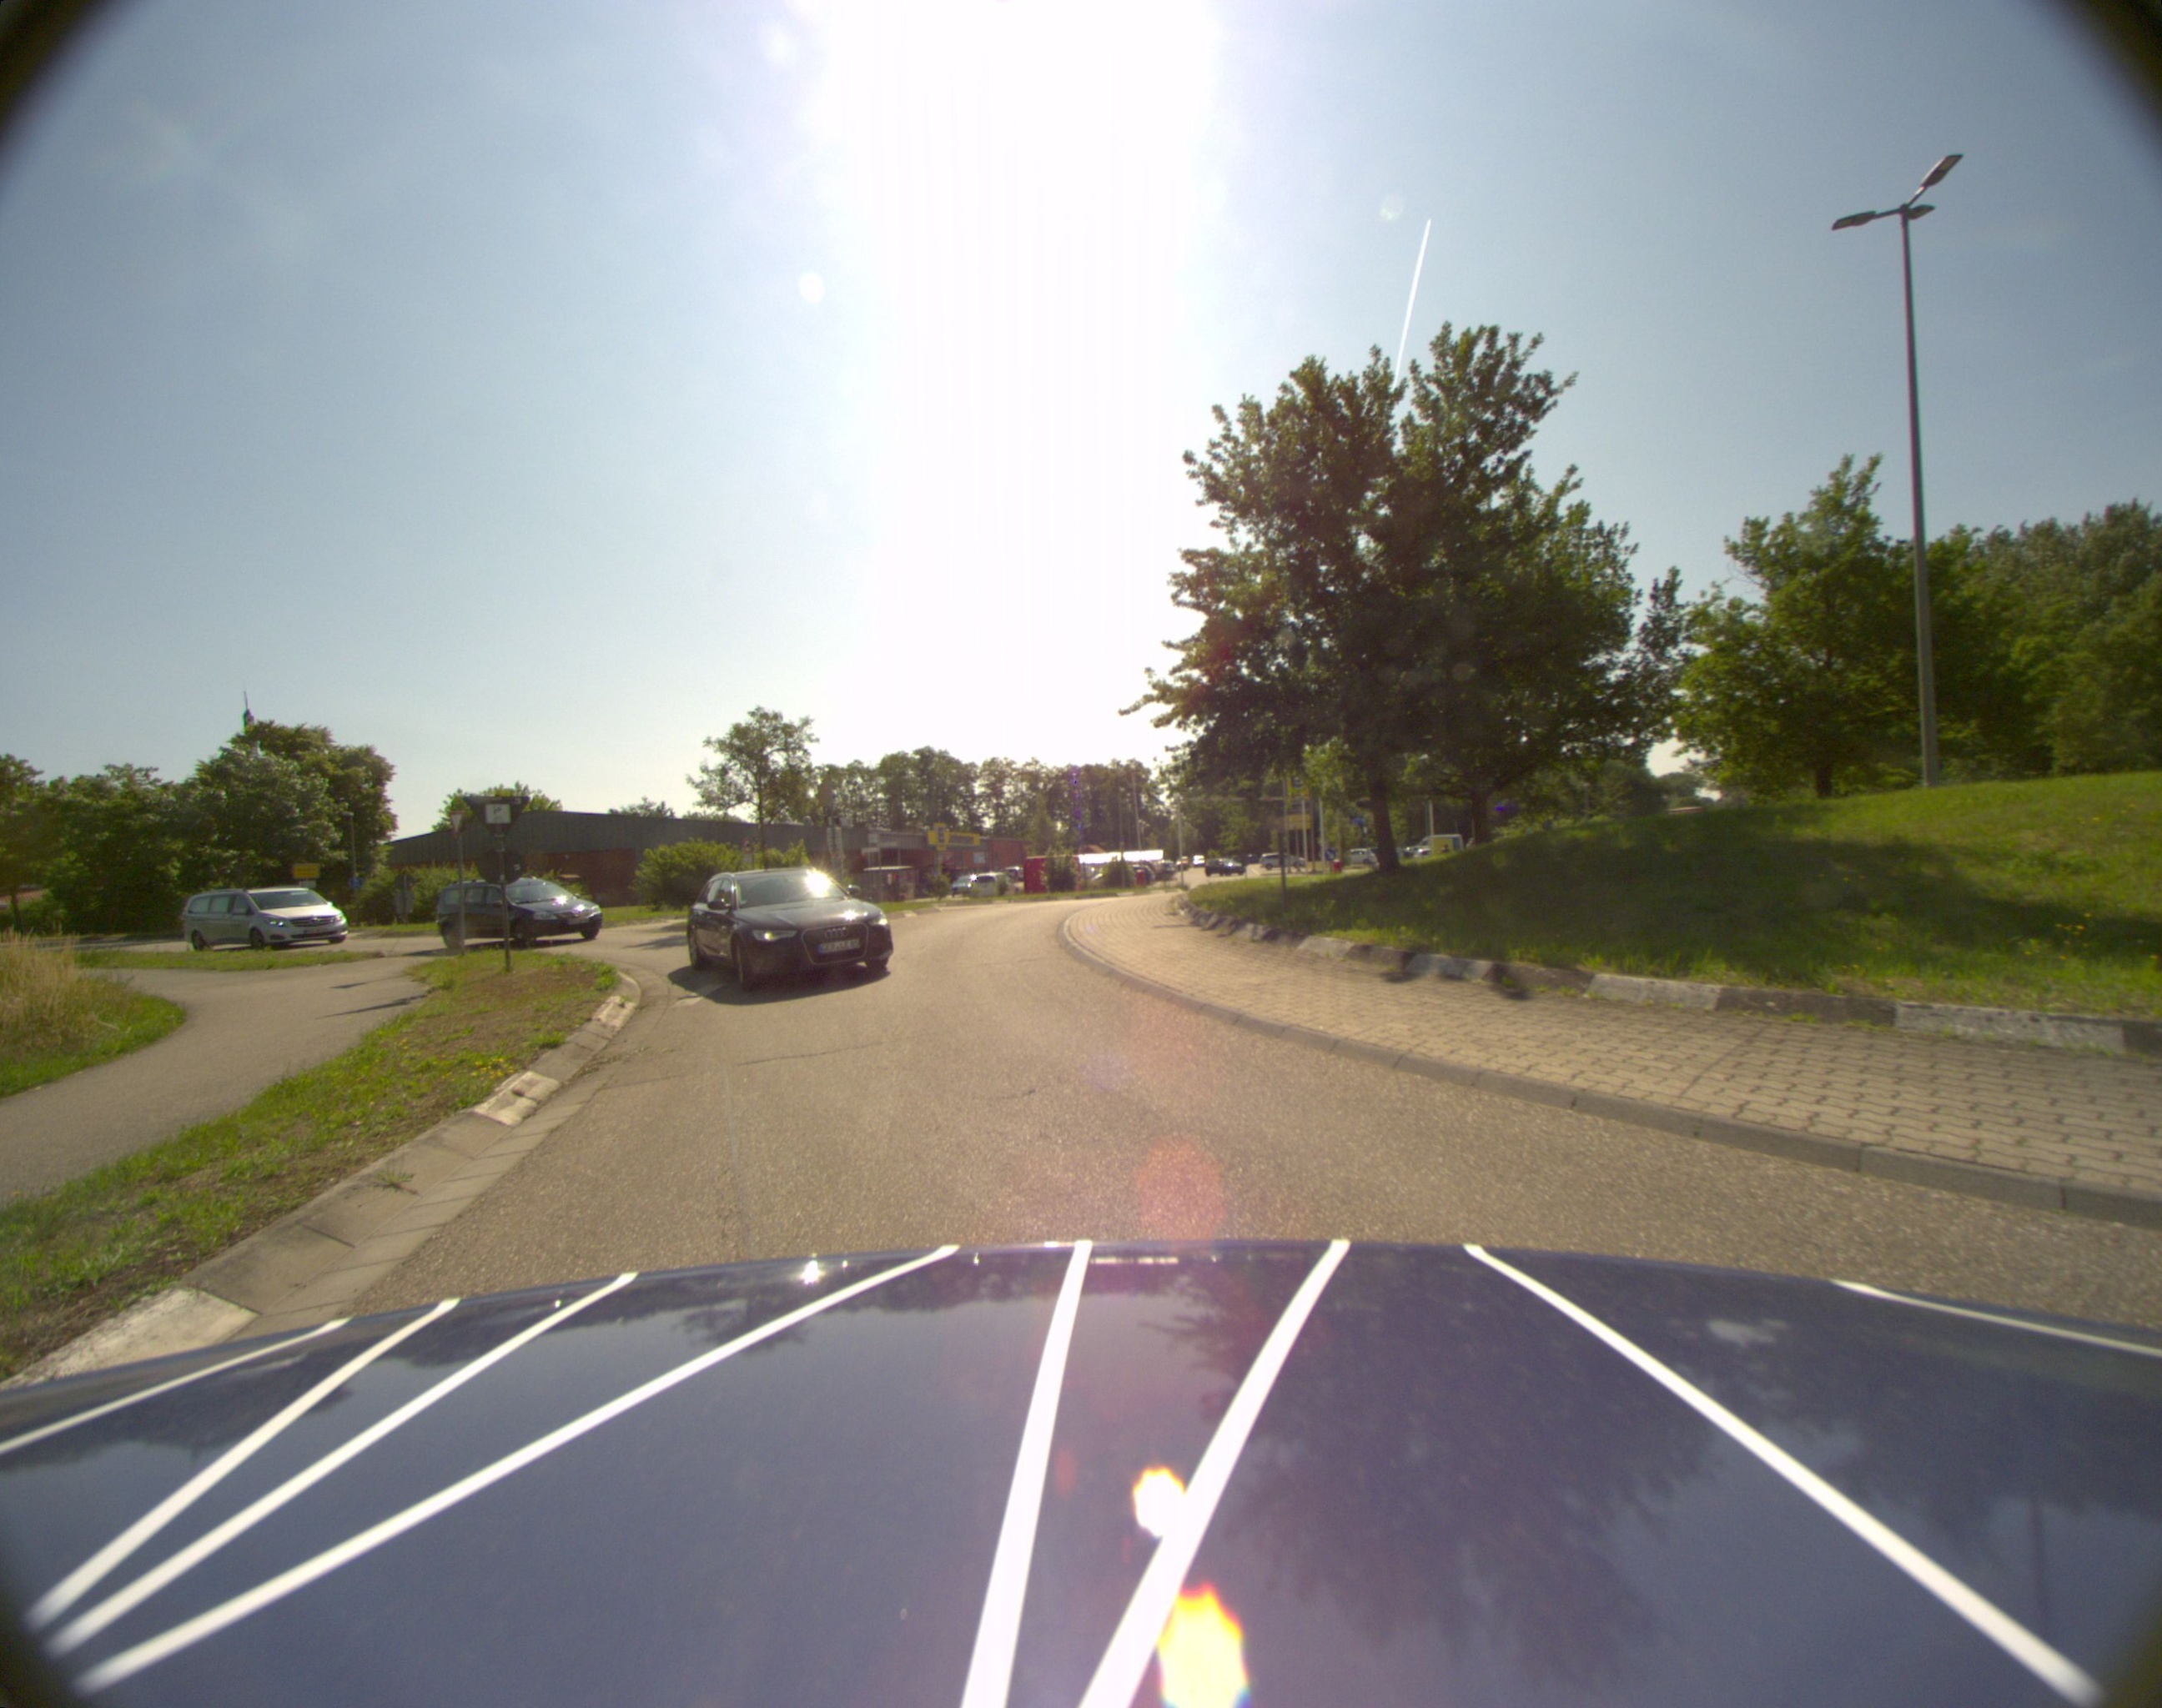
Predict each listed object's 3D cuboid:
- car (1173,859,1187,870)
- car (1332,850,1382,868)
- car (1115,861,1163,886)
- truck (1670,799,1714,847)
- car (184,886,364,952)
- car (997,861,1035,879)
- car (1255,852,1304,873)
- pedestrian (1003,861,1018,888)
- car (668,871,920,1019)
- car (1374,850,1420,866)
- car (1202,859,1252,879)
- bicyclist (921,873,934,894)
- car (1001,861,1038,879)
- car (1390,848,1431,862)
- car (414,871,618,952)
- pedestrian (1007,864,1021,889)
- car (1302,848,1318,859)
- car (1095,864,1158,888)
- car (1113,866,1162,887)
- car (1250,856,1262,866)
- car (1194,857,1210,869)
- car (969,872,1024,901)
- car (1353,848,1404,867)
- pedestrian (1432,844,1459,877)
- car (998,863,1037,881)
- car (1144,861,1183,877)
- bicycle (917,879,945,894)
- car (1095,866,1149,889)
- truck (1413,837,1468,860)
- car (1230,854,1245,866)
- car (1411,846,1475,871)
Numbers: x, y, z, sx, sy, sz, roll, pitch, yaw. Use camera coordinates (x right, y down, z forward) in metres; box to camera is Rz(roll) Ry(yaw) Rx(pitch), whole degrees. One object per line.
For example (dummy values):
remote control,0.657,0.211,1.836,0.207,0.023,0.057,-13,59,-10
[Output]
car,15.677,1.616,120.011,1.793,1.586,4.264,-3,-1,11
car,25.206,0.430,69.438,3.989,1.433,1.654,-3,-1,38
car,4.820,1.593,62.725,3.485,1.917,1.881,-3,-1,19
truck,54.049,-2.673,67.173,2.715,3.891,5.963,-3,-1,41
car,-25.150,2.014,23.666,5.190,1.805,2.003,-3,-1,21
car,-7.433,1.852,86.995,3.995,1.805,2.001,-3,0,8
car,20.126,0.885,77.203,4.553,1.692,2.002,-5,-1,12
pedestrian,-5.070,1.472,54.683,0.839,1.859,0.775,-3,-1,12
car,-4.253,1.037,10.657,1.926,1.426,4.900,-6,2,-37
car,32.148,0.397,77.369,3.990,1.419,1.752,-3,-1,32
car,12.839,1.299,67.053,3.990,1.579,1.665,-4,-1,42
bicyclist,-11.267,2.173,55.847,0.676,1.506,0.608,-3,-1,29
car,-7.193,1.890,89.253,3.995,1.805,2.001,-3,0,8
car,36.635,0.113,84.432,3.965,1.444,1.908,-3,-1,29
car,-13.869,1.426,18.643,4.645,1.632,1.818,-4,3,24
pedestrian,-4.593,1.550,51.970,0.815,1.609,0.925,-3,-1,-11
car,35.193,-0.060,116.763,2.068,1.477,4.004,-3,0,12
car,3.453,1.681,57.548,4.420,1.562,1.718,-3,-1,16
car,4.470,1.761,60.320,3.485,1.488,1.719,-3,-1,19
car,27.149,1.086,117.935,1.660,1.477,4.377,-3,-1,13
car,19.009,1.347,119.195,2.068,1.701,4.004,-3,0,12
car,-4.609,1.759,41.996,1.723,1.437,3.777,-3,-2,15
car,28.781,0.381,73.533,4.156,1.564,2.004,-4,-1,36
pedestrian,20.066,0.347,41.839,0.843,1.774,0.879,-3,-1,-19
car,-7.062,1.996,84.709,3.995,1.805,2.002,-3,-1,8
car,9.447,1.686,87.166,3.992,1.652,2.003,-3,-1,17
bicycle,-10.991,2.394,55.661,2.071,1.035,0.554,-3,-1,29
car,3.001,1.690,54.910,3.485,1.449,1.719,-3,-1,19
truck,43.735,-0.669,92.510,5.602,2.590,2.207,-3,0,38
car,24.508,0.878,118.740,2.068,1.701,4.004,-3,0,12
car,24.473,0.320,51.366,3.596,1.552,1.817,-2,-1,34
